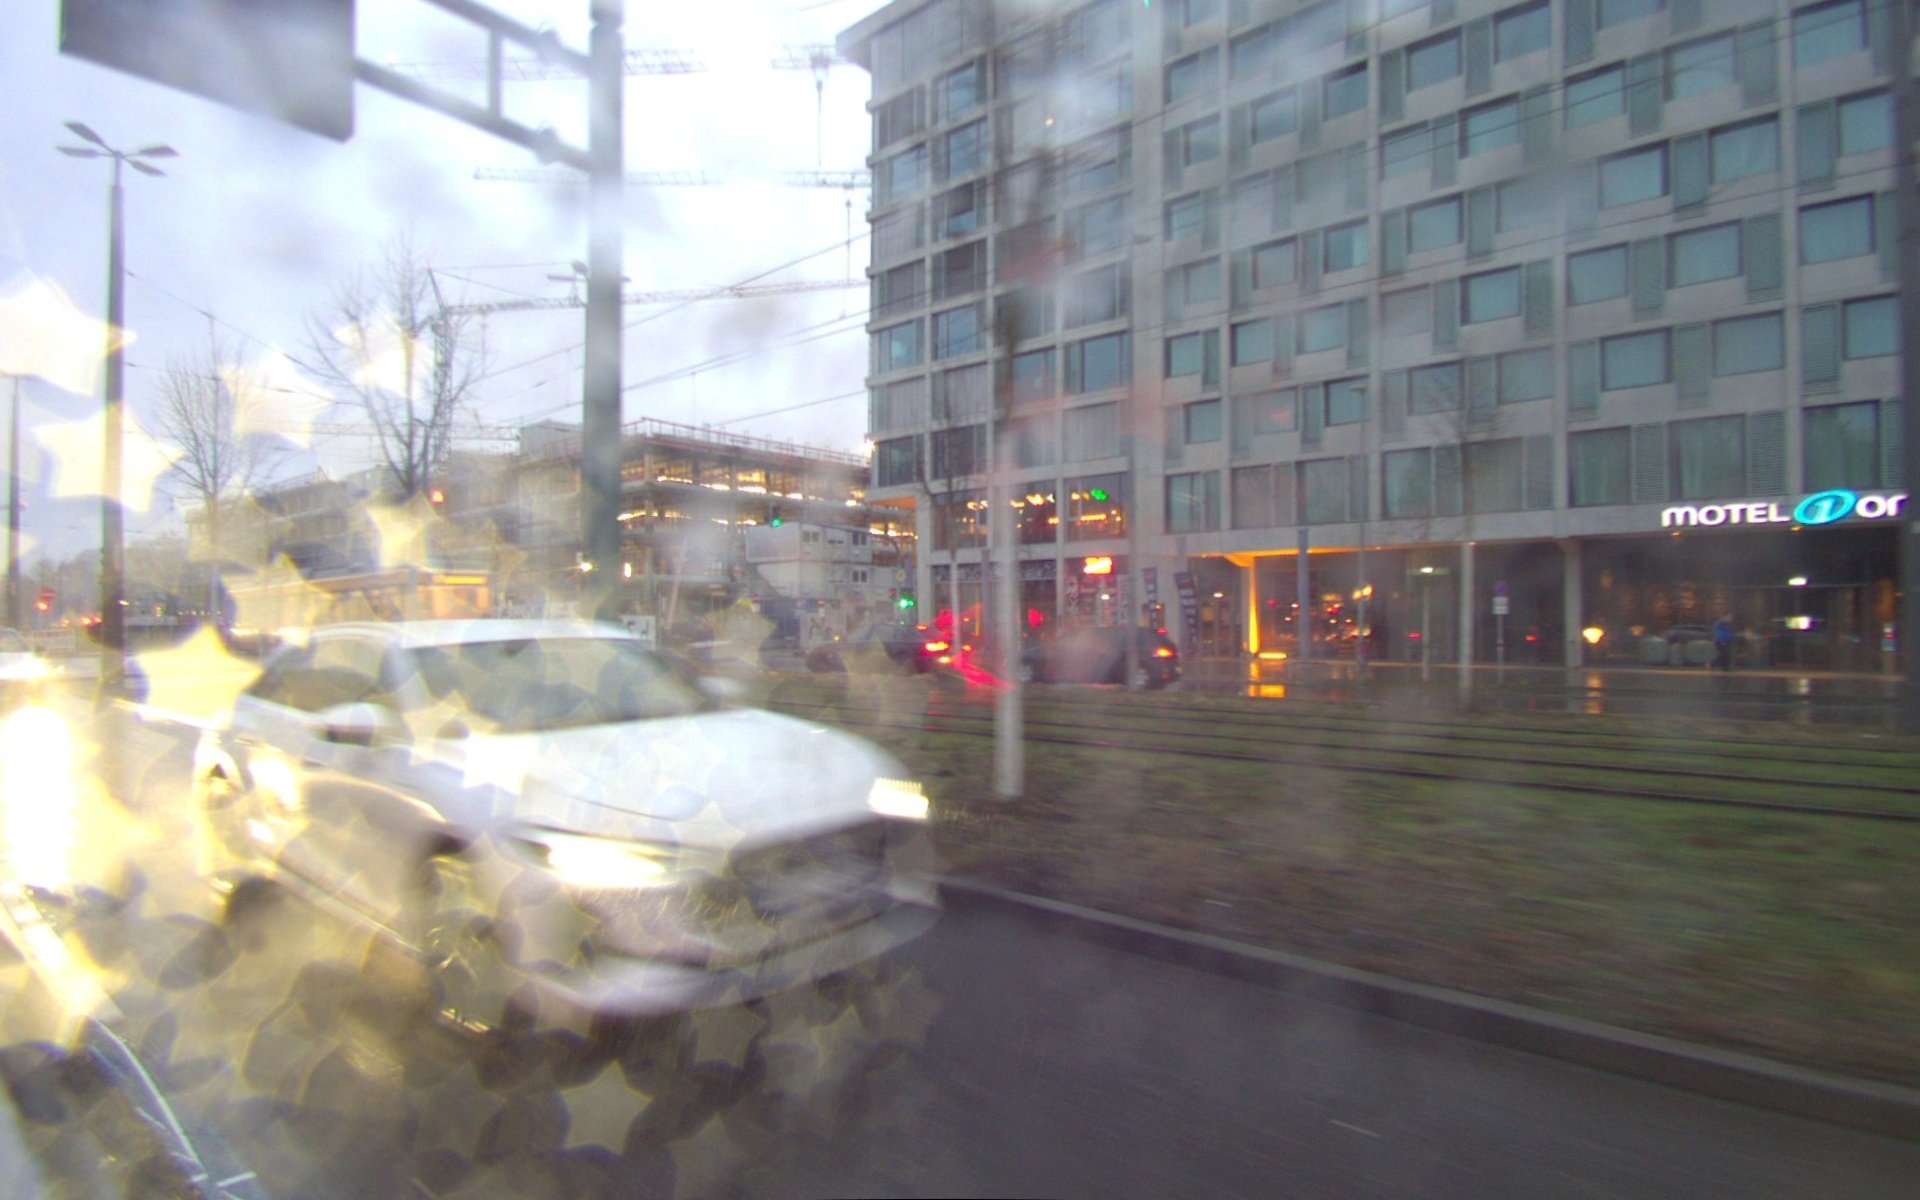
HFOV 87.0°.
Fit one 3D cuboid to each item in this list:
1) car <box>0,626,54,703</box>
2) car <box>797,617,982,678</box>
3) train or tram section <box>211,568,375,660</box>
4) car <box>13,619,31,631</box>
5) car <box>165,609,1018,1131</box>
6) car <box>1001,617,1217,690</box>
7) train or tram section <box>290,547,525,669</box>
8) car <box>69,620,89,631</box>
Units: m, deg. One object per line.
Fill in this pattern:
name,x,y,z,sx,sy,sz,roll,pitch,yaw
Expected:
car,-19.277,1.244,19.930,3.980,1.381,1.744,-1,0,42
car,-1.965,1.208,26.837,5.032,1.479,1.972,-2,-2,42
train or tram section,-29.906,0.713,44.903,14.320,3.513,2.924,-2,-2,44
car,-169.674,4.503,183.124,3.998,2.029,1.973,-2,-2,41
car,-2.123,0.785,4.974,4.609,1.416,1.828,-1,0,39
car,3.323,1.154,22.696,4.425,1.508,1.983,-1,-2,26
train or tram section,-19.567,0.403,35.035,14.267,3.513,2.924,-2,-2,44
car,-146.595,4.247,168.330,3.997,1.837,1.973,-2,-2,41
